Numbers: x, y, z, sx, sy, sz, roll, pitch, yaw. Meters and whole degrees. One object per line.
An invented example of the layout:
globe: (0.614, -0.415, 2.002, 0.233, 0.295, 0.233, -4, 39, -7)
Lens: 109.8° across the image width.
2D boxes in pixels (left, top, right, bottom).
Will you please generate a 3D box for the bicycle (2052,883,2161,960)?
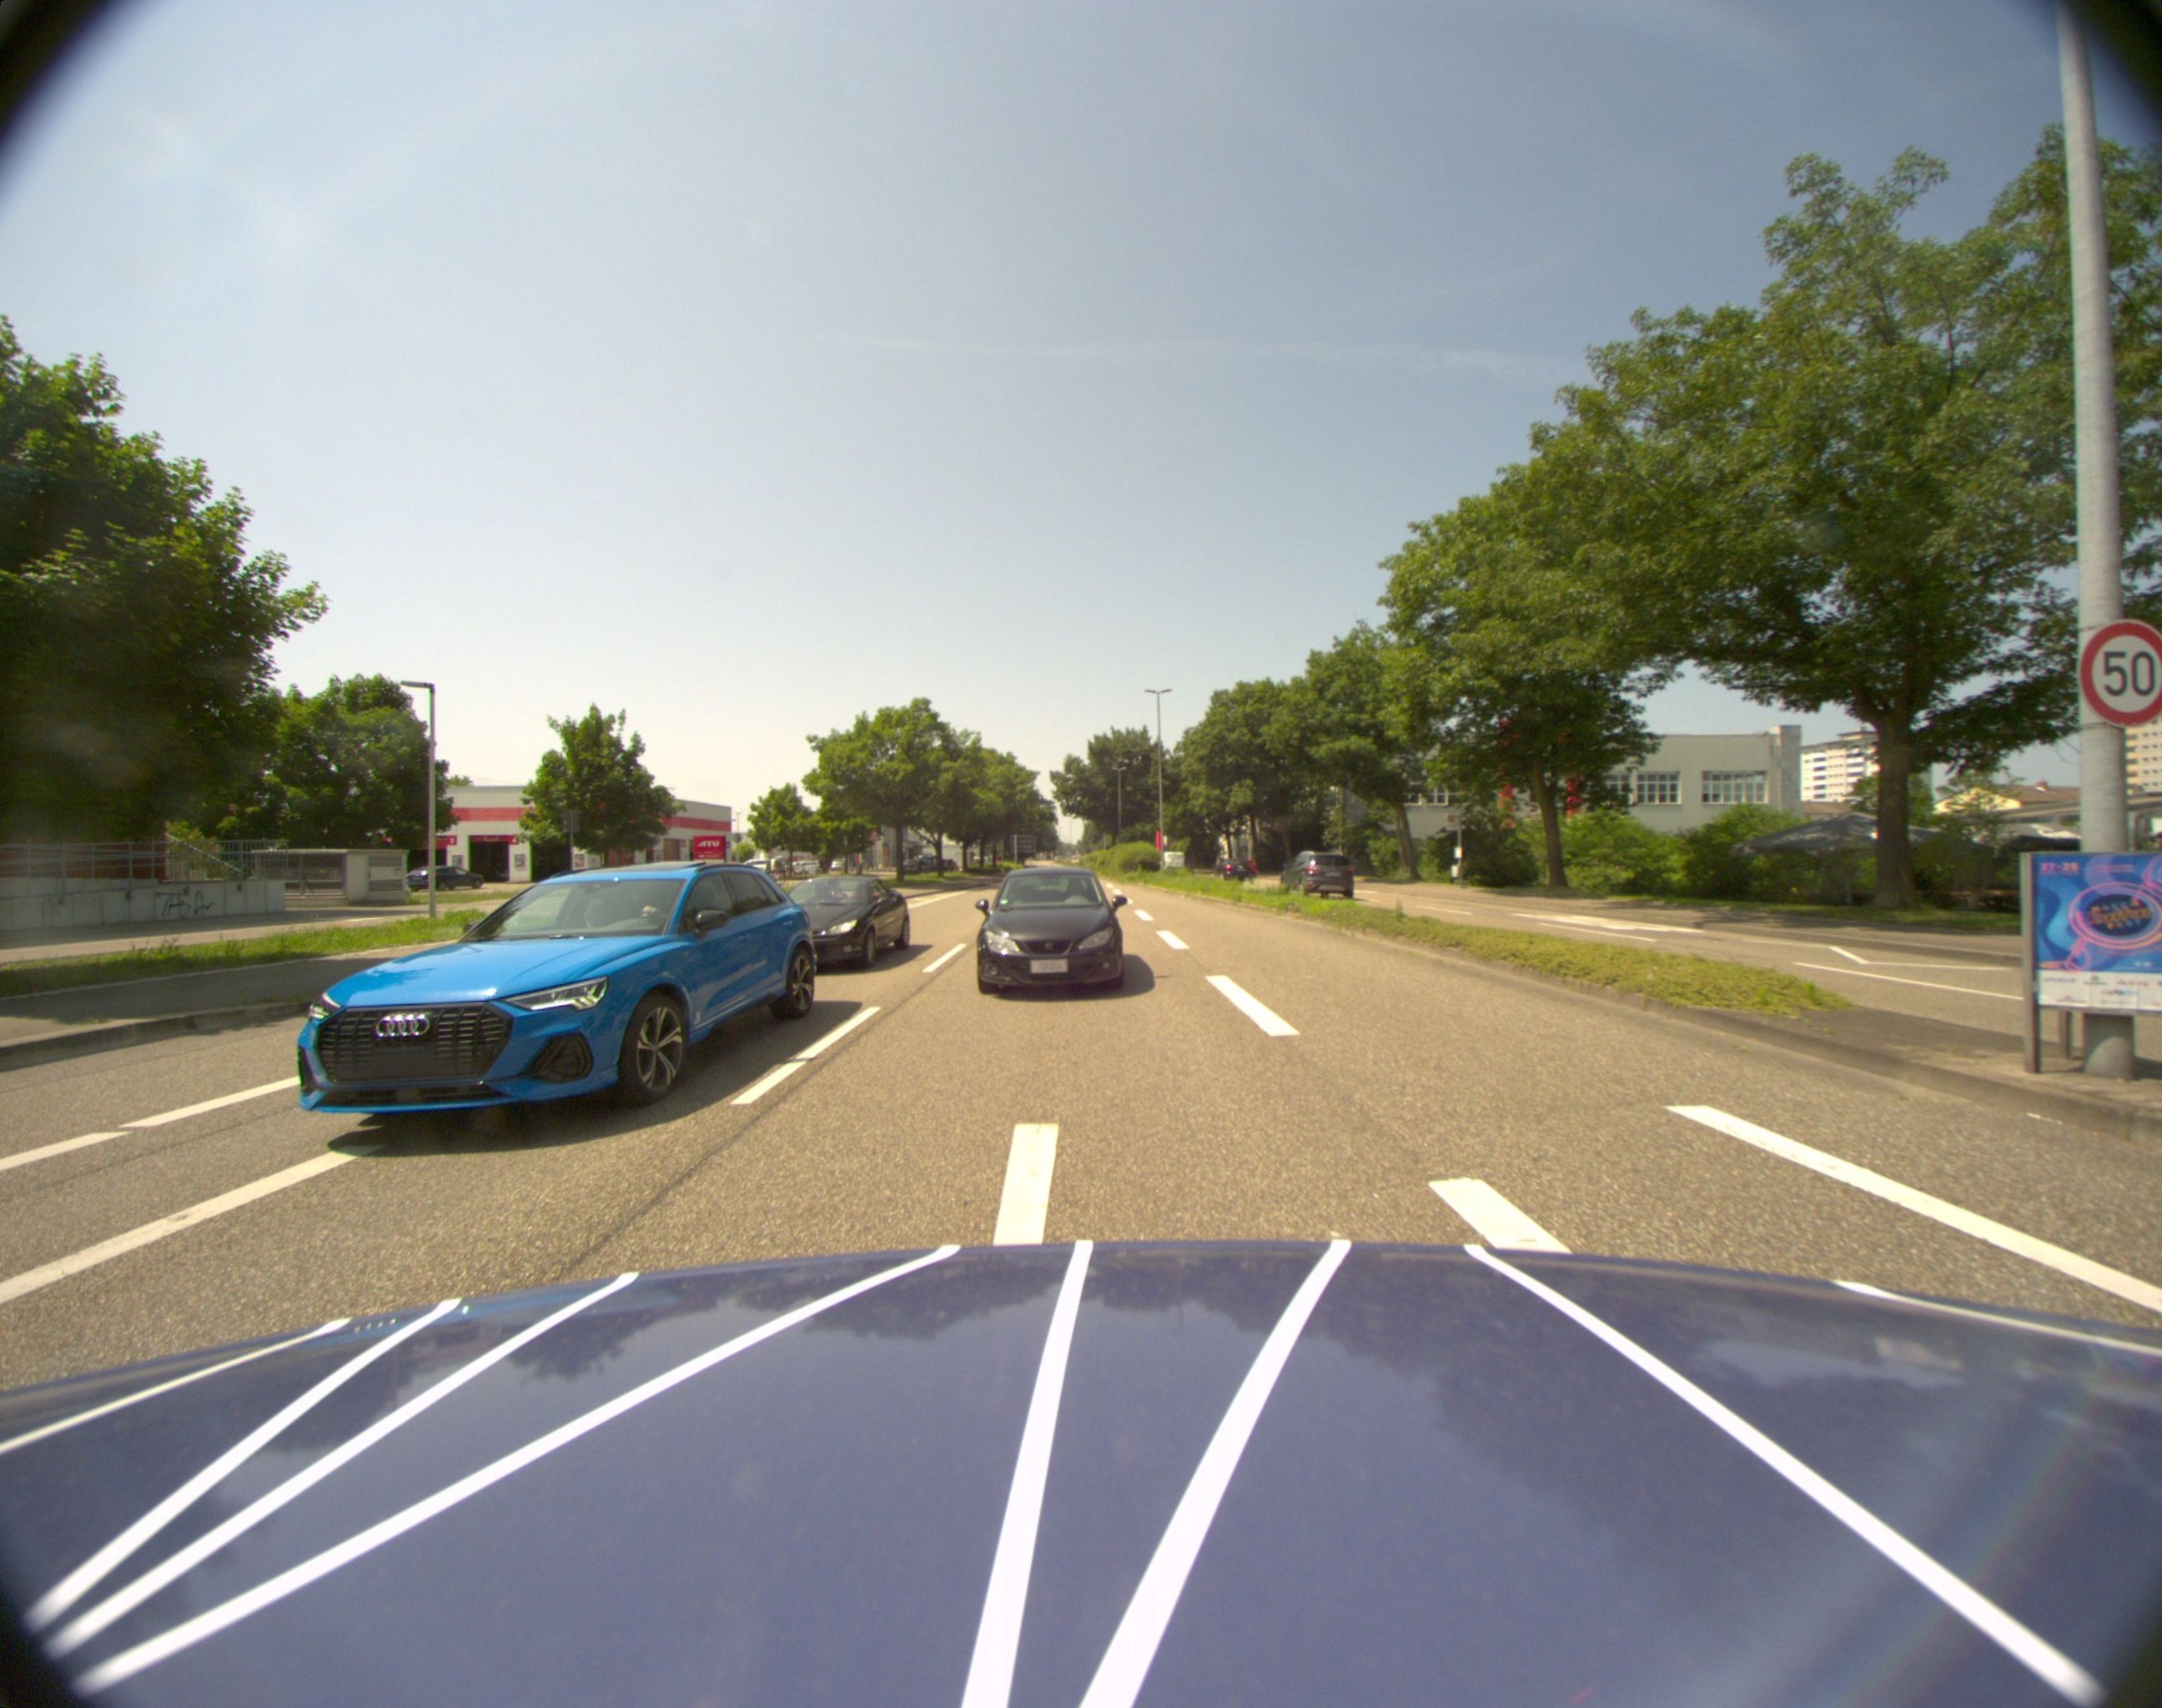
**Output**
bicycle: (15.907, 0.998, 11.256, 0.656, 1.045, 1.884, -1, 0, 1)

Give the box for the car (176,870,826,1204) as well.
car: (-3.726, 0.994, 6.123, 1.842, 1.586, 4.400, -1, 0, 0)

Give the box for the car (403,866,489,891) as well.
car: (-38.161, 1.458, 45.831, 1.717, 1.364, 4.145, 0, 0, 0)

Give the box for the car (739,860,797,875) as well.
car: (-25.598, 1.076, 62.264, 3.998, 1.201, 1.747, 0, 0, -3)

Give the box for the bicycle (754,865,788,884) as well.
bicycle: (-18.379, 1.222, 45.093, 1.784, 1.117, 0.514, 0, 0, -6)

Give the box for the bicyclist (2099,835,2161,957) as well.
bicyclist: (15.897, 0.605, 11.151, 0.651, 1.759, 0.927, -1, 1, 0)

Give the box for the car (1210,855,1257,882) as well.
car: (8.431, 0.761, 42.336, 1.683, 1.331, 3.999, 2, 0, -1)

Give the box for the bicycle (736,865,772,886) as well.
bicycle: (-18.466, 1.216, 42.988, 1.784, 1.117, 0.514, 0, 0, -6)

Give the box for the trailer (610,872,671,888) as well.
trailer: (-23.884, 1.399, 41.226, 2.467, 0.757, 1.449, -1, 0, 1)

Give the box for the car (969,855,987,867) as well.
car: (-13.302, 0.917, 97.851, 1.719, 1.458, 4.000, 0, 0, 1)

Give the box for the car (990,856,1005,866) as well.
car: (-13.007, 1.128, 118.448, 1.719, 1.458, 4.000, 0, 0, 1)

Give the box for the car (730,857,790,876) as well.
car: (-25.274, 0.959, 59.896, 3.998, 1.394, 1.747, 0, 0, -3)

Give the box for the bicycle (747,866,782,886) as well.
bicycle: (-18.194, 1.238, 43.734, 1.784, 1.117, 0.514, 0, 0, -6)

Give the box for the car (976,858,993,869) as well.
car: (-13.269, 1.228, 104.616, 1.719, 1.458, 4.000, 0, 0, 1)

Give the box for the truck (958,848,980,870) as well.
truck: (-13.536, 0.570, 92.016, 1.904, 2.552, 4.000, 0, 0, 2)

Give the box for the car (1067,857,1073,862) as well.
car: (-3.368, 1.716, 235.821, 1.999, 1.692, 4.000, 0, 0, 0)

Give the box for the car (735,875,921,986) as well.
car: (-3.857, 1.103, 12.335, 1.642, 1.336, 4.000, -3, 0, 0)

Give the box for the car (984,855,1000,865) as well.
car: (-13.122, 0.851, 112.119, 1.719, 1.458, 4.000, 0, 0, 1)

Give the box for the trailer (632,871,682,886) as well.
trailer: (-24.047, 1.379, 43.129, 2.137, 0.757, 1.267, -1, 0, 1)

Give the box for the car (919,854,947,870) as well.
car: (-13.424, 0.698, 68.940, 1.719, 1.458, 4.000, 0, 0, 1)

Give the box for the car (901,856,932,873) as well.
car: (-13.510, 0.851, 62.712, 1.642, 1.363, 4.000, 0, 0, 1)

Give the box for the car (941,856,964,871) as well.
car: (-13.555, 1.018, 80.288, 1.719, 1.504, 4.000, 0, 0, 1)

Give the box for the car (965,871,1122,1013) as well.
car: (-0.410, 0.976, 10.007, 1.642, 1.395, 4.000, 0, 0, -1)

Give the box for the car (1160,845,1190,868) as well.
car: (8.506, 0.231, 69.229, 1.999, 1.934, 4.907, 2, 0, -1)

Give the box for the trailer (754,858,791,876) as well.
trailer: (-27.210, 1.133, 67.017, 2.642, 1.518, 1.415, 0, 0, -2)

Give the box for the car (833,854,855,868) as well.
car: (-27.416, 0.844, 87.986, 1.759, 1.586, 3.997, 0, 0, -7)

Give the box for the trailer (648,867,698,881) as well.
trailer: (-24.065, 1.185, 44.860, 2.137, 0.757, 1.394, -1, 0, 1)

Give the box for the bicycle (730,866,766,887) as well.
bicycle: (-18.550, 1.234, 42.362, 1.784, 1.117, 0.514, 0, 0, -6)

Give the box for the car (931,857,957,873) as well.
car: (-13.328, 1.046, 74.113, 1.719, 1.511, 4.000, 0, 0, 1)

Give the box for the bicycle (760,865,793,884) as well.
bicycle: (-18.414, 1.214, 45.924, 1.784, 1.117, 0.514, 0, 0, -6)

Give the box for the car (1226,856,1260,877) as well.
car: (12.280, 0.925, 57.697, 1.710, 1.444, 3.891, 2, 0, 0)

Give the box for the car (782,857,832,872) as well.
car: (-25.046, 0.946, 69.614, 3.998, 1.293, 1.689, 0, 0, -3)

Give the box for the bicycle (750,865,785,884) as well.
bicycle: (-18.289, 1.201, 44.374, 1.784, 1.117, 0.514, 0, 0, -6)

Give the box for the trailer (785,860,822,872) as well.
trailer: (-24.491, 1.079, 67.140, 2.642, 1.046, 1.578, 0, 0, -2)

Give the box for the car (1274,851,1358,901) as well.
car: (8.353, 0.729, 27.375, 1.691, 1.591, 3.884, 2, 0, -1)

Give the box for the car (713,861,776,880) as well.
car: (-25.502, 1.265, 57.667, 3.998, 1.394, 1.747, 0, 0, -2)
